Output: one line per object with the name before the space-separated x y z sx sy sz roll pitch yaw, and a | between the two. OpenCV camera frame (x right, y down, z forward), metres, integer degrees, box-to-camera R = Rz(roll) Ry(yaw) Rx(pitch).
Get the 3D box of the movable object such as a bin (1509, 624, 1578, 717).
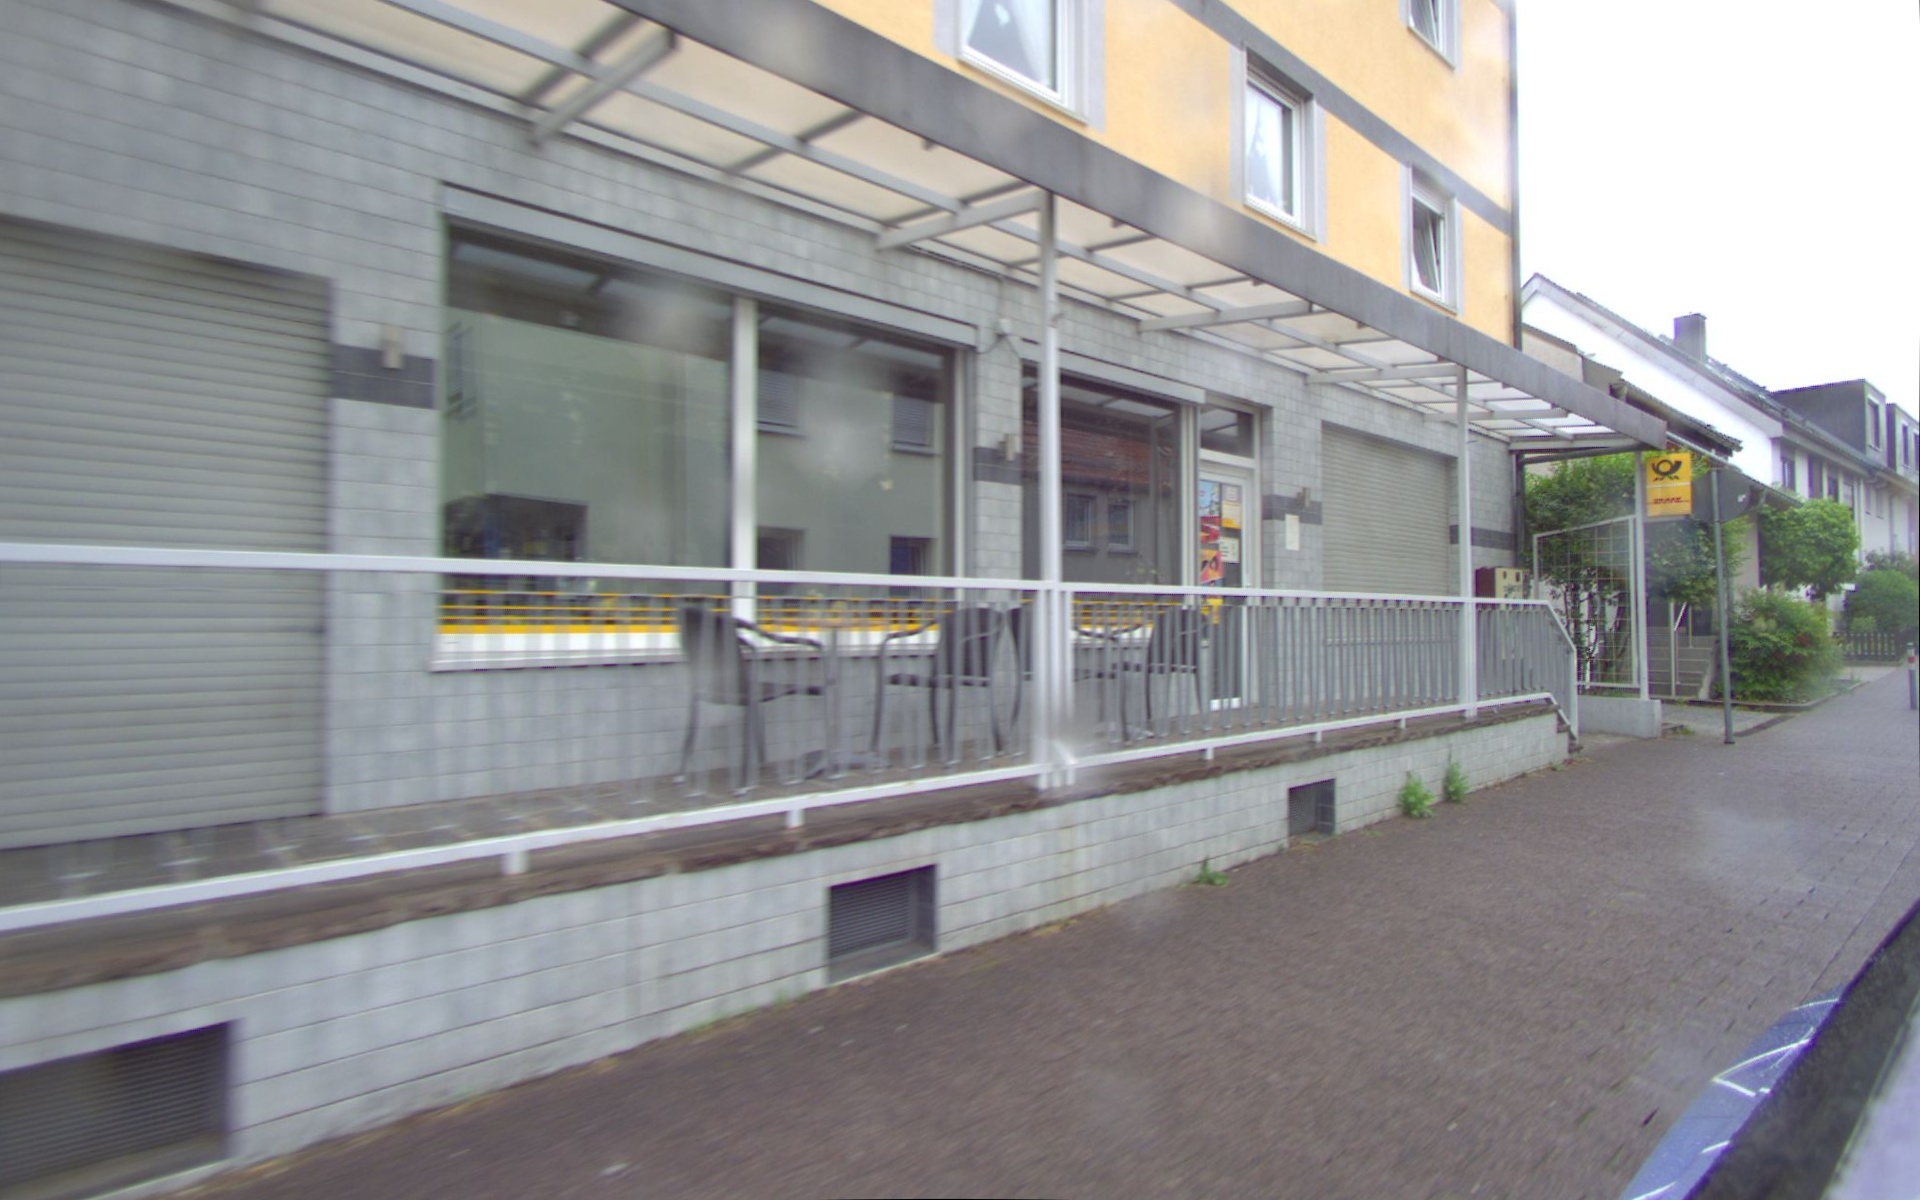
movable object such as a bin | 7.212 0.852 12.504 0.726 1.095 0.510 1 0 -38
